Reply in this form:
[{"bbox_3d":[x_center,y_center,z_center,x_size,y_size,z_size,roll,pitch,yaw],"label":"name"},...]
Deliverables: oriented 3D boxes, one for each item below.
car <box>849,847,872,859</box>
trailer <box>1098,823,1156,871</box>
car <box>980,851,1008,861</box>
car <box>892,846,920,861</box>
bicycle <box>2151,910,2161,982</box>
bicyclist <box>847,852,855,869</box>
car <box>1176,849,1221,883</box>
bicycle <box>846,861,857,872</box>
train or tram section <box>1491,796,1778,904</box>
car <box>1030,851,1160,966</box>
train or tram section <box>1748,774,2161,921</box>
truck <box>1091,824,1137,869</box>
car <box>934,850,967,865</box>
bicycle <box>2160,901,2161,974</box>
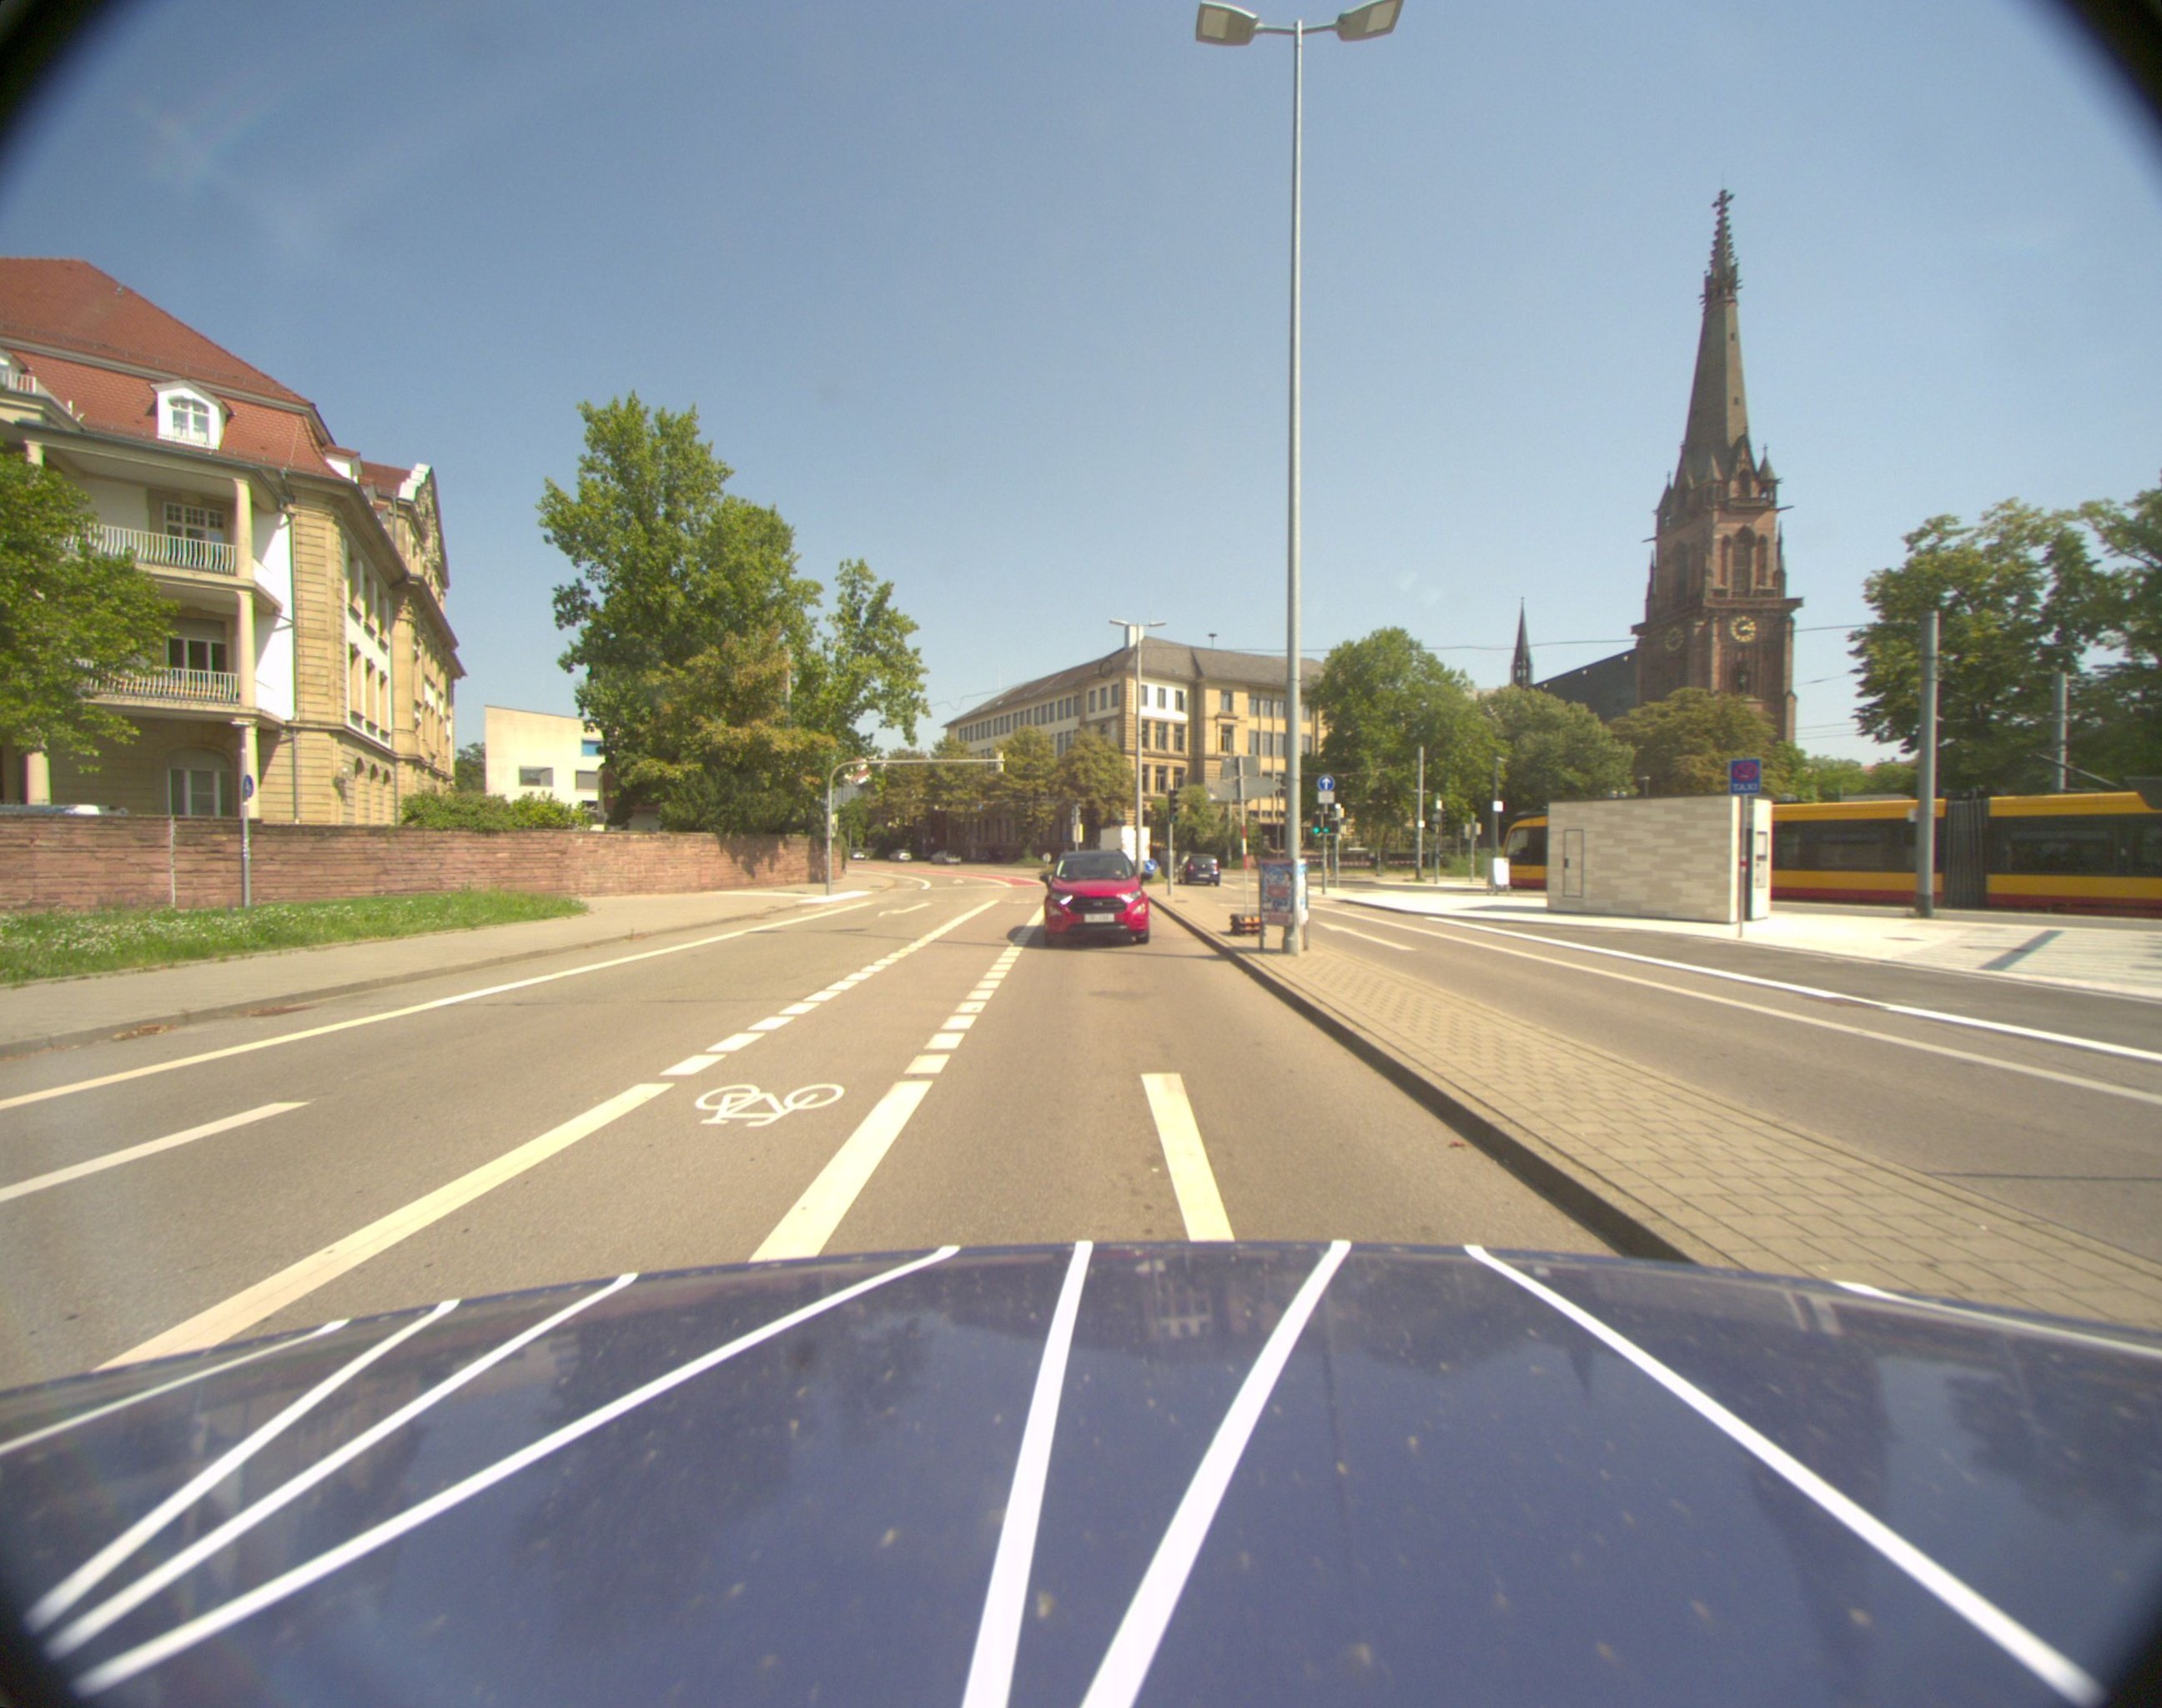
[{"bbox_3d":[-30.485,-0.170,104.878,2.004,1.630,3.989,0,1,-33],"label":"car"},{"bbox_3d":[3.228,-0.530,54.752,2.444,3.269,5.080,0,1,-18],"label":"trailer"},{"bbox_3d":[-10.151,0.259,88.668,3.064,1.169,1.248,0,1,-39],"label":"car"},{"bbox_3d":[-20.979,-0.067,90.753,2.004,1.660,3.989,0,1,-33],"label":"car"},{"bbox_3d":[14.266,1.202,8.926,0.492,0.879,1.893,0,2,-32],"label":"bicycle"},{"bbox_3d":[-16.403,0.471,54.140,0.433,1.226,0.540,0,1,-2],"label":"bicyclist"},{"bbox_3d":[5.524,0.541,36.064,1.584,1.489,3.585,2,0,1],"label":"car"},{"bbox_3d":[-16.418,0.892,54.378,0.437,0.807,1.485,0,1,-2],"label":"bicycle"},{"bbox_3d":[20.777,-0.104,29.178,3.144,3.539,8.306,1,-1,-35],"label":"train or tram section"},{"bbox_3d":[0.208,0.786,13.086,1.844,1.605,4.000,-2,0,0],"label":"car"},{"bbox_3d":[25.557,-0.125,22.264,3.168,3.576,8.504,1,0,-35],"label":"train or tram section"},{"bbox_3d":[2.465,-0.569,56.947,2.432,3.269,3.421,0,1,-17],"label":"truck"},{"bbox_3d":[-13.641,0.349,79.445,1.891,1.587,3.989,0,1,-34],"label":"car"},{"bbox_3d":[15.352,1.098,9.650,0.528,1.076,1.860,0,1,-32],"label":"bicycle"}]
